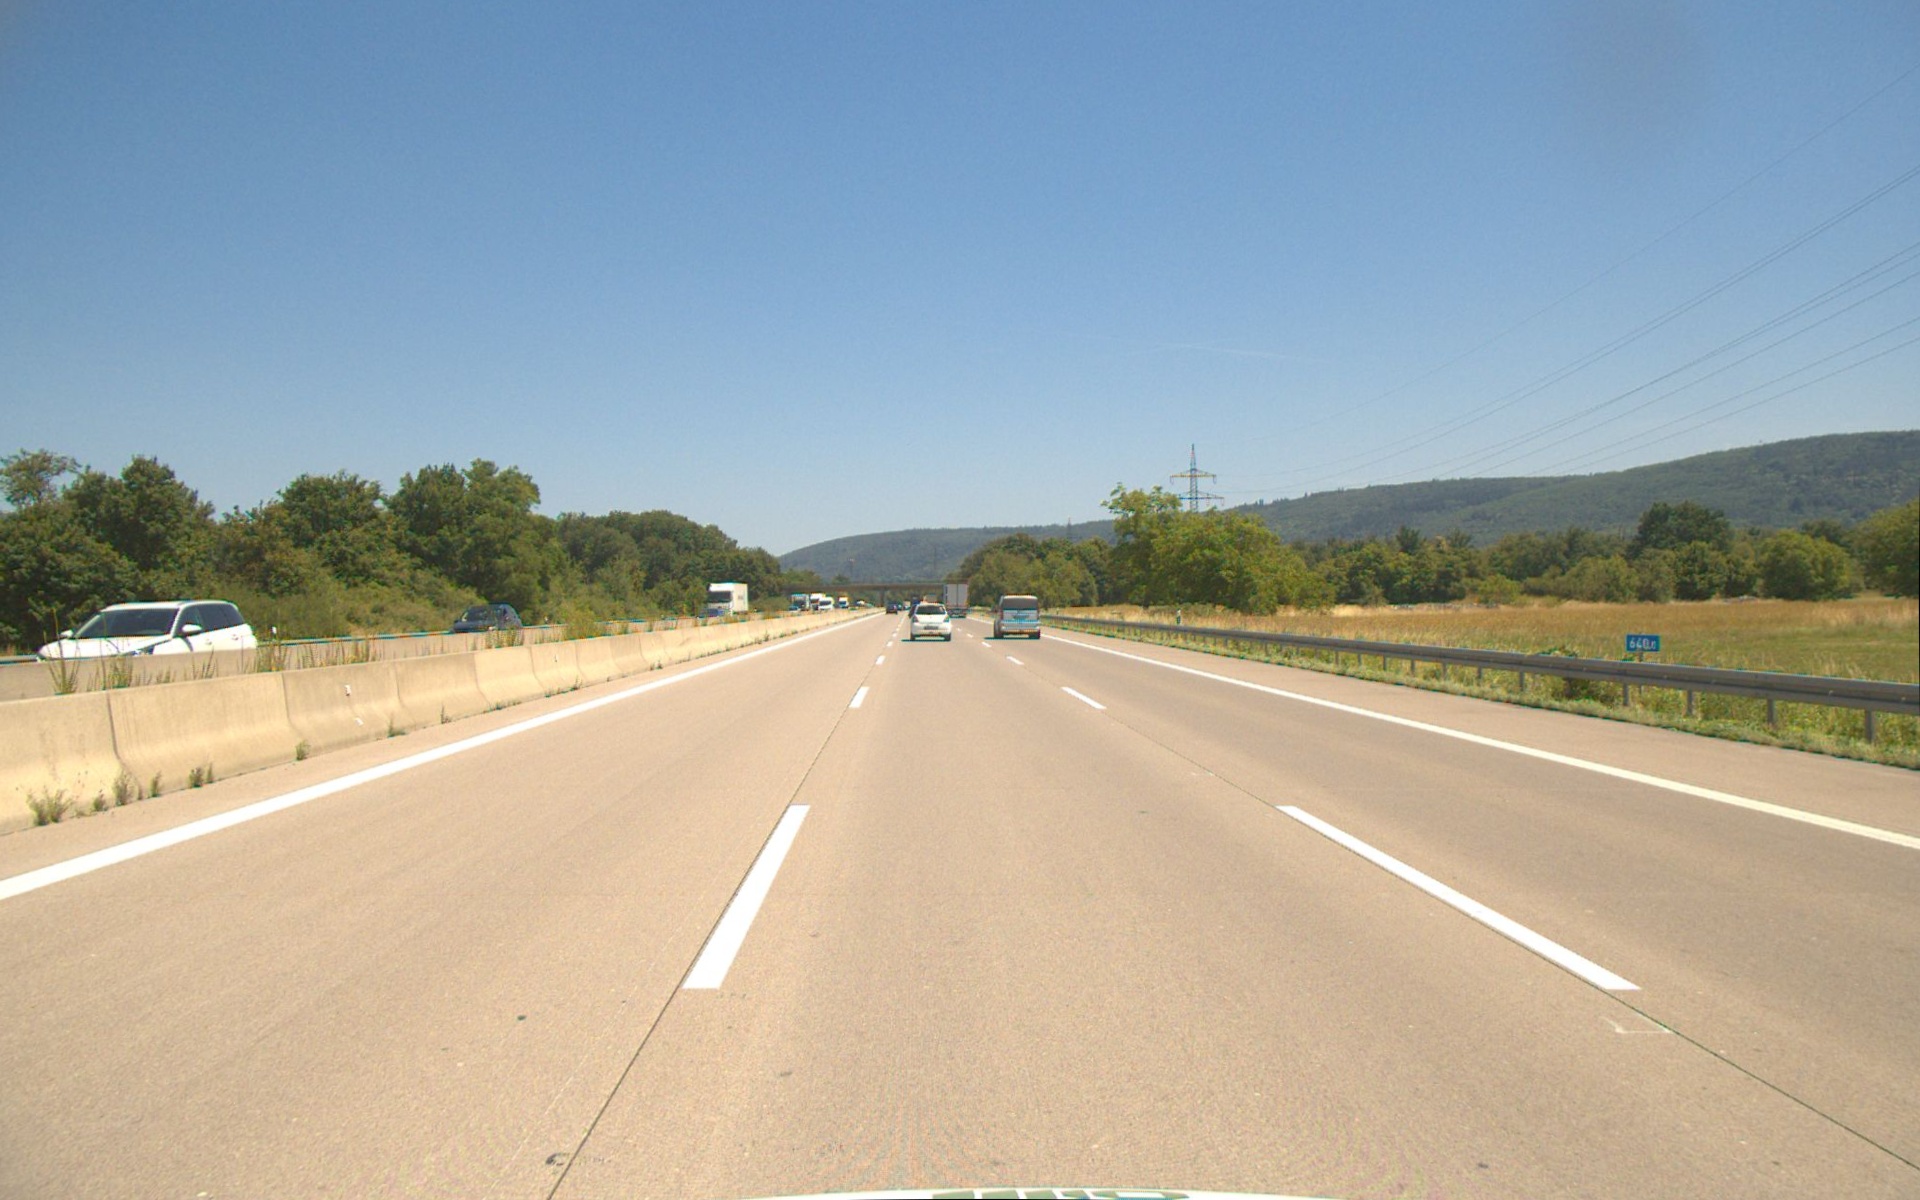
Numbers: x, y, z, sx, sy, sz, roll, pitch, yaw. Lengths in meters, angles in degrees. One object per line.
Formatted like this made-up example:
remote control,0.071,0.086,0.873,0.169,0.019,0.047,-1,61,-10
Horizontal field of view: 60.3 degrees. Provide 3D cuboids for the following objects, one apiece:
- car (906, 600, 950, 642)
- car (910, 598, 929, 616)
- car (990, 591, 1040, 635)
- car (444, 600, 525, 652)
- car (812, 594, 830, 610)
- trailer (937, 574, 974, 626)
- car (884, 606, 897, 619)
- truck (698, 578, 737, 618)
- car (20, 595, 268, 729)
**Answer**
car,-1.354,0.862,68.868,1.783,1.691,3.998,0,0,-2
car,-4.374,0.720,178.456,1.954,1.881,3.998,2,0,-3
car,2.433,0.576,74.131,1.953,1.881,3.998,1,0,-2
car,-17.841,0.933,62.231,1.954,1.870,4.812,1,0,-4
car,-18.456,0.230,220.056,2.027,2.049,5.978,1,0,-2
trailer,-0.603,0.033,195.447,3.647,5.913,12.154,1,0,-3
car,-10.124,1.841,240.761,1.890,1.825,3.998,1,0,-2
truck,-25.020,-0.237,171.134,3.097,3.977,8.369,1,0,-2
car,-12.428,0.880,25.492,1.867,1.892,3.999,1,0,-1
